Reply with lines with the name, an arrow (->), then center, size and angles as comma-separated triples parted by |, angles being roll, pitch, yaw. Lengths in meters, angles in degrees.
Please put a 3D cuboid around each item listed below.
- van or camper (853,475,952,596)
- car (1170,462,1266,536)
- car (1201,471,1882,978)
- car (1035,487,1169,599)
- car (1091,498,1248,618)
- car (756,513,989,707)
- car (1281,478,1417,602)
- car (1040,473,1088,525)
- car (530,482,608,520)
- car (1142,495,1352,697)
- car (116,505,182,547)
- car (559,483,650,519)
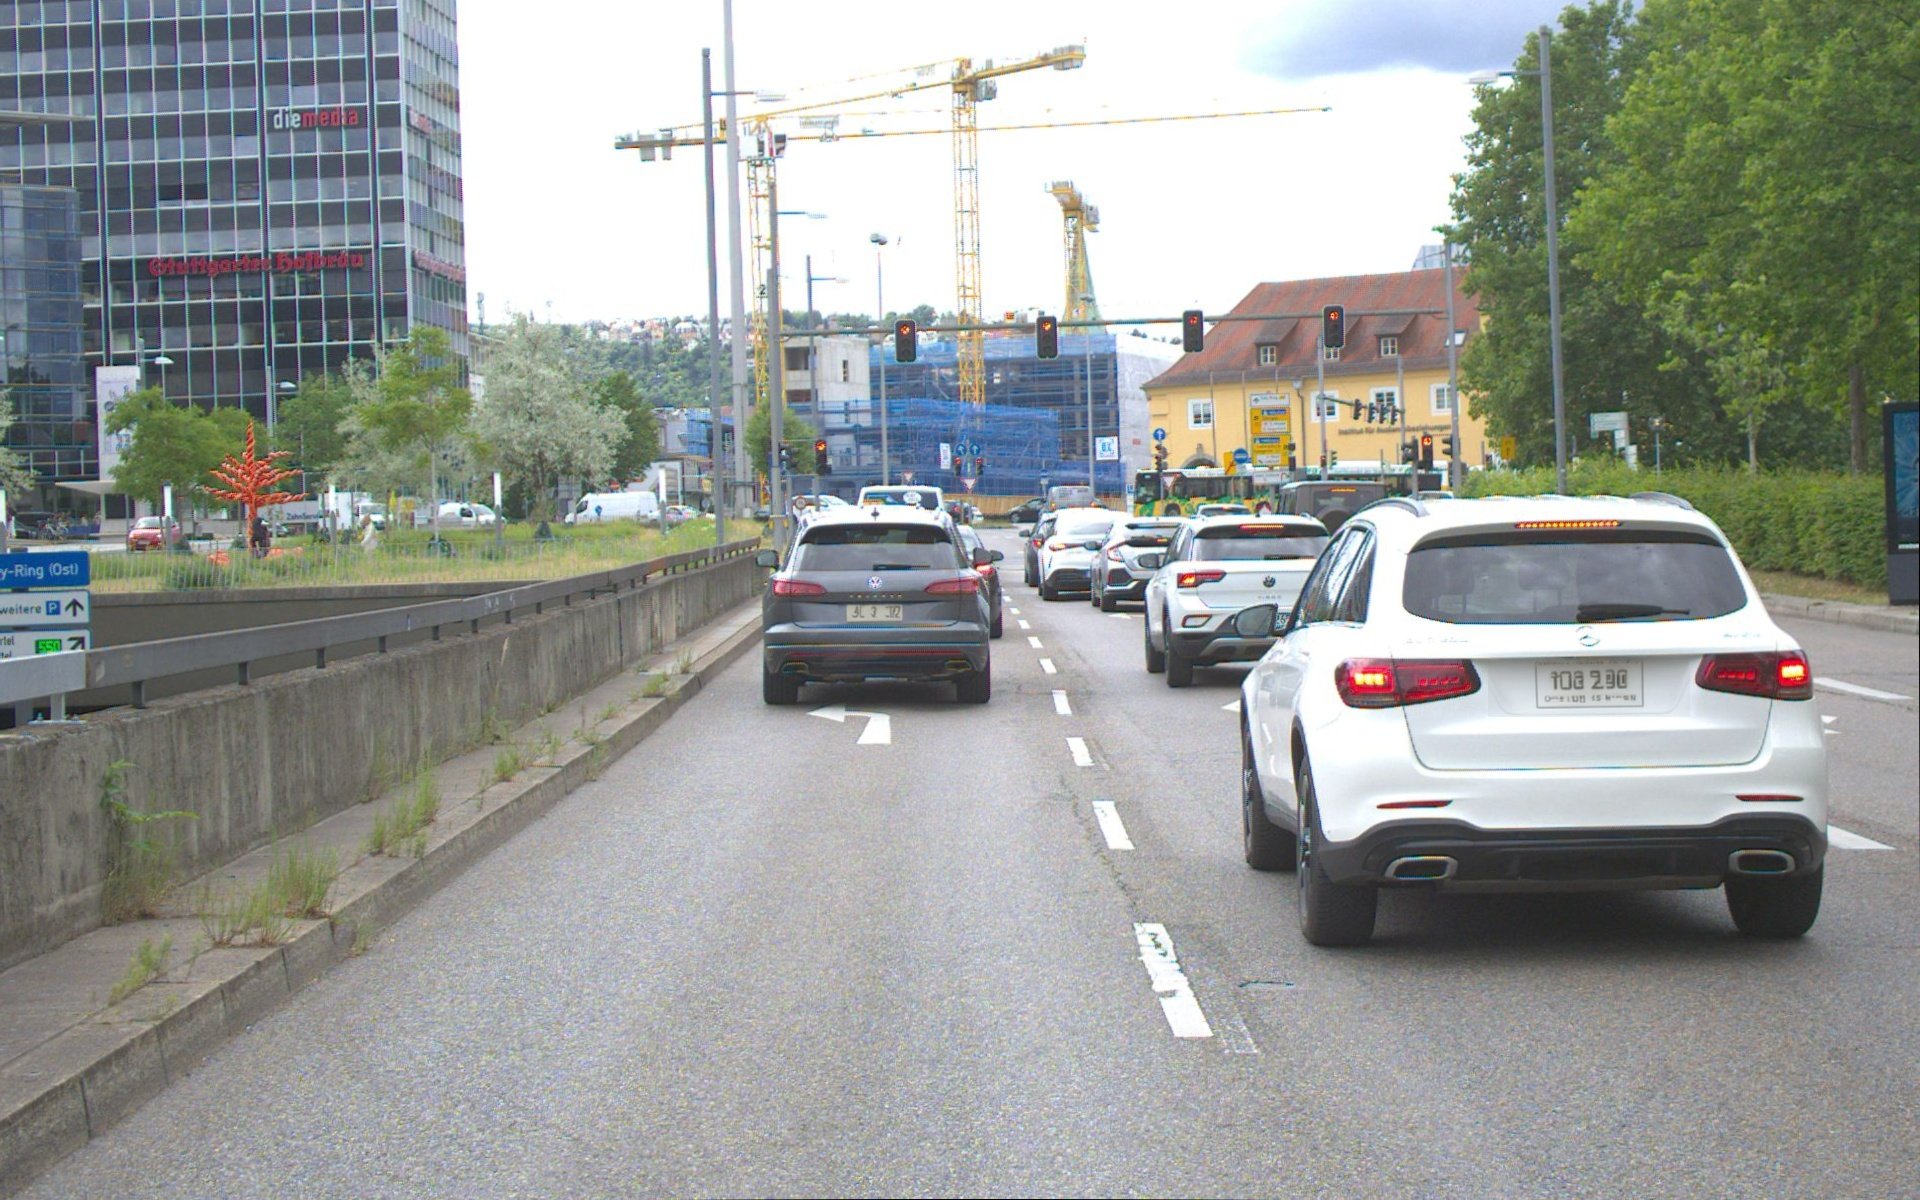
van or camper -> -1.141, -1.277, 69.477 | 1.922, 2.312, 4.000 | 0, -1, -1
car -> 5.765, -2.243, 77.220 | 1.719, 1.579, 4.000 | 1, 1, -2
car -> 2.100, 0.407, 13.585 | 1.940, 1.678, 4.000 | -1, 0, -1
car -> 2.314, -0.920, 56.890 | 1.993, 1.774, 4.000 | 1, 0, -1
car -> 3.014, -0.596, 50.205 | 1.993, 1.656, 4.000 | 1, 0, -1
car -> -0.745, 0.039, 30.568 | 1.922, 1.596, 4.000 | 0, 1, -1
car -> 6.513, -1.014, 57.961 | 1.788, 2.007, 4.000 | 0, 1, -1
car -> 4.307, -4.176, 142.441 | 1.800, 2.007, 4.000 | 1, 0, -1
car -> -21.692, -5.479, 190.858 | 3.986, 2.007, 2.001 | 1, 0, -17
car -> 2.642, -0.095, 32.396 | 1.672, 1.622, 4.001 | 1, 4, 1
car -> -32.825, -3.000, 139.157 | 1.867, 1.612, 3.481 | 1, 0, -1
car -> -21.494, -6.002, 207.894 | 5.271, 2.053, 1.873 | 1, 0, 1
